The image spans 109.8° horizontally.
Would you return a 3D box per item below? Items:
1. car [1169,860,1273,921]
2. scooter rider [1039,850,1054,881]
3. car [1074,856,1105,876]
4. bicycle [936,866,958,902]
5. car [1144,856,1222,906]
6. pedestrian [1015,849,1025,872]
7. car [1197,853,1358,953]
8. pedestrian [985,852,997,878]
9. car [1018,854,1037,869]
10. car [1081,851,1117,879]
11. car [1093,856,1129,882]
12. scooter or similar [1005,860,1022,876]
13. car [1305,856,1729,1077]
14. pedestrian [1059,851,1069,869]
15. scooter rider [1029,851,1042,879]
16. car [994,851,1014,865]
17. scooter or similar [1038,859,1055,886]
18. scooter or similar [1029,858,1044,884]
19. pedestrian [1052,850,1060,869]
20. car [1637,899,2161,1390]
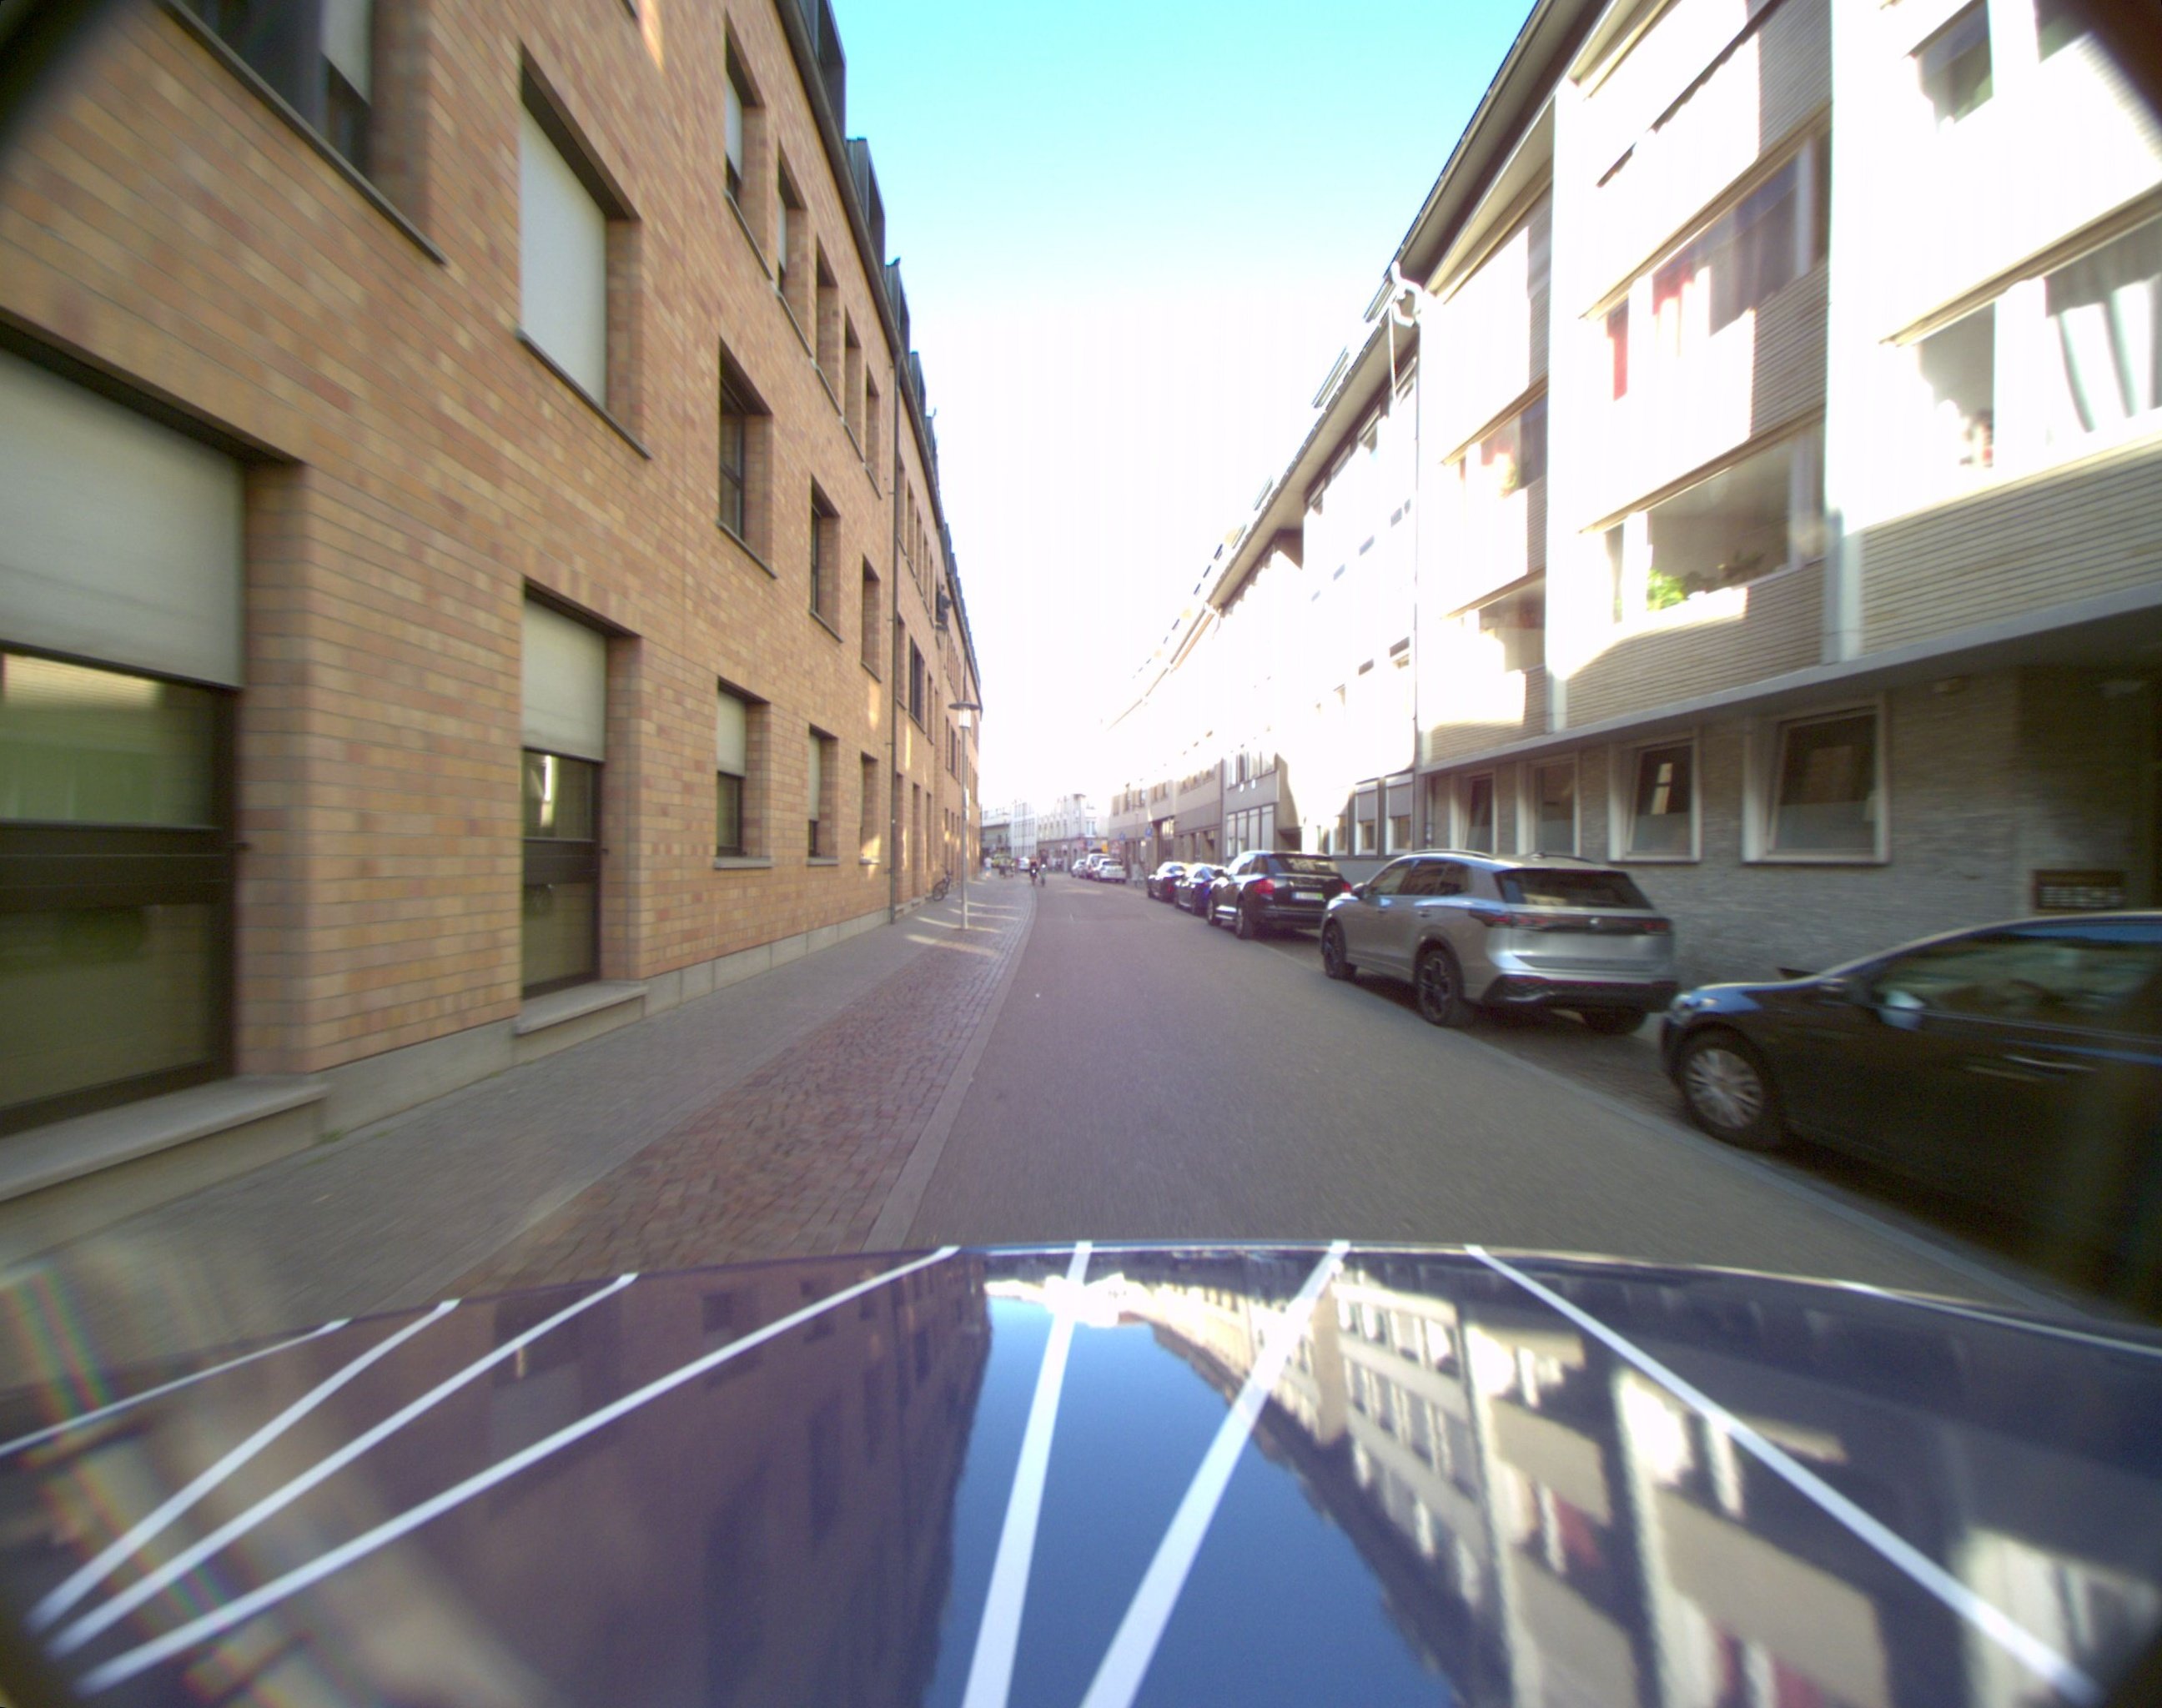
[{"bbox_3d":[3.845,0.958,21.628,1.895,1.521,4.338,1,0,-4],"label":"car"},{"bbox_3d":[-1.819,0.598,39.852,0.648,1.584,0.599,-2,2,-15],"label":"scooter rider"},{"bbox_3d":[0.641,0.918,60.435,1.743,1.483,3.796,2,0,-10],"label":"car"},{"bbox_3d":[-4.449,0.989,25.273,0.551,1.097,1.981,3,0,-7],"label":"bicycle"},{"bbox_3d":[3.611,0.913,27.704,1.895,1.521,4.727,4,0,-3],"label":"car"},{"bbox_3d":[-5.230,0.556,65.189,0.716,2.002,0.698,0,0,-16],"label":"pedestrian"},{"bbox_3d":[3.770,0.864,15.517,1.895,1.666,4.552,3,0,-2],"label":"car"},{"bbox_3d":[-6.217,0.759,52.577,0.762,1.706,0.821,2,0,-5],"label":"pedestrian"},{"bbox_3d":[-5.563,0.808,79.149,1.720,1.508,4.157,1,0,-8],"label":"car"},{"bbox_3d":[1.273,0.774,55.045,1.905,1.846,4.730,2,0,-7],"label":"car"},{"bbox_3d":[1.861,0.933,48.757,1.675,1.513,3.773,3,0,-7],"label":"car"},{"bbox_3d":[-5.229,1.052,58.882,0.537,1.228,1.422,-1,0,33],"label":"scooter or similar"},{"bbox_3d":[4.108,0.899,8.203,1.895,1.732,4.389,1,0,-3],"label":"car"},{"bbox_3d":[-1.843,0.657,82.321,0.938,2.002,0.698,0,0,-16],"label":"pedestrian"},{"bbox_3d":[-2.551,0.620,42.499,0.592,1.500,0.599,-2,2,-15],"label":"scooter rider"},{"bbox_3d":[-10.776,0.527,106.233,1.891,1.862,3.993,3,0,-18],"label":"car"},{"bbox_3d":[-1.802,0.939,39.792,0.524,1.388,1.553,1,0,-15],"label":"scooter or similar"},{"bbox_3d":[-2.497,0.940,42.425,0.551,1.388,1.553,1,0,-15],"label":"scooter or similar"},{"bbox_3d":[-2.739,0.620,81.888,0.716,2.002,0.698,0,0,-16],"label":"pedestrian"},{"bbox_3d":[4.364,1.053,2.759,1.653,1.452,3.998,3,0,-1],"label":"car"}]
